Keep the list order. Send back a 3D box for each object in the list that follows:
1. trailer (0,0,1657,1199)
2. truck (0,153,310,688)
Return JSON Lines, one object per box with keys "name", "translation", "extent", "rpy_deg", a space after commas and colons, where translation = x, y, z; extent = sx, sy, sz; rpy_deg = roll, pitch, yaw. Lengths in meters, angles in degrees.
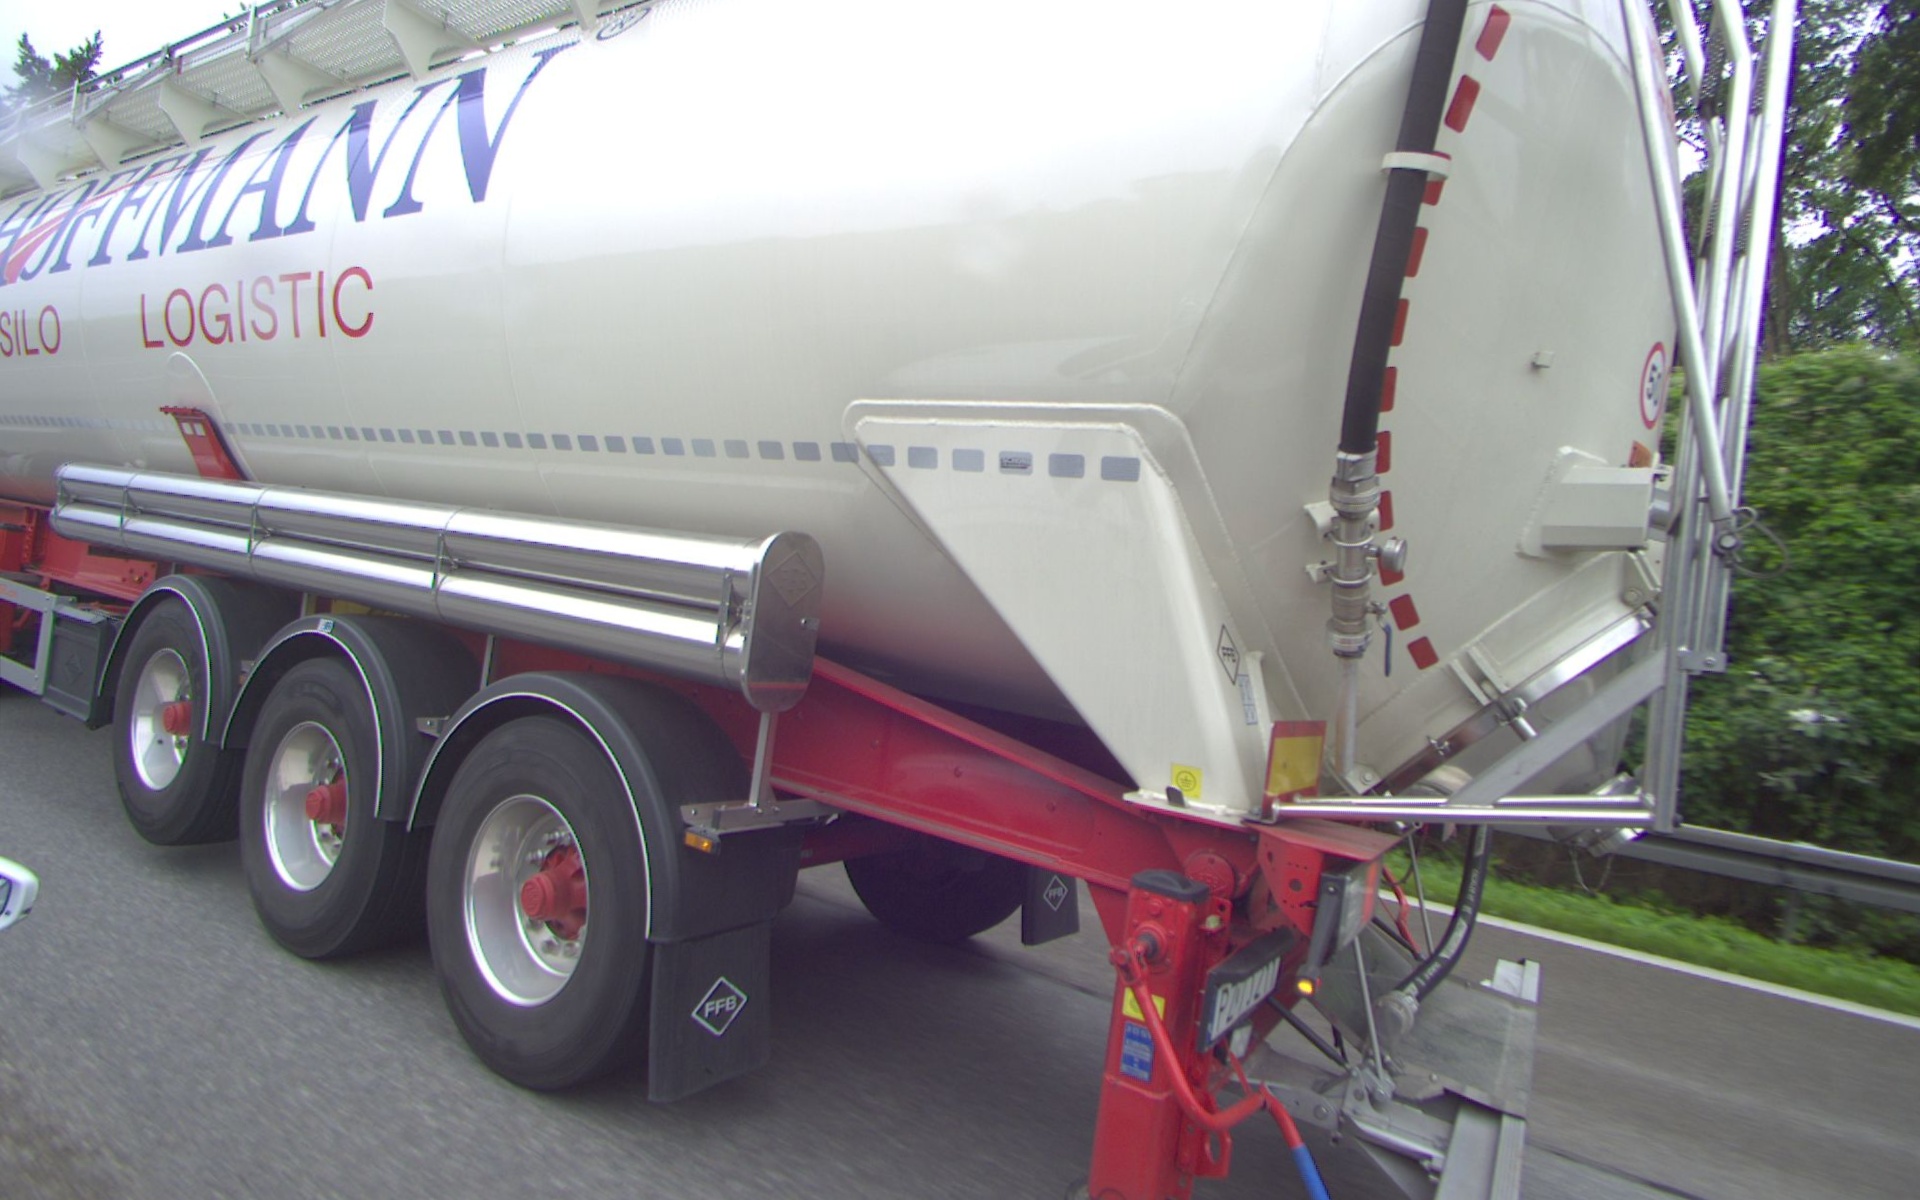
{"name": "trailer", "translation": [-3.791, -0.909, 6.061], "extent": [12.911, 3.987, 2.672], "rpy_deg": [7, 0, 32]}
{"name": "truck", "translation": [-9.635, -1.571, 9.809], "extent": [6.447, 3.960, 2.699], "rpy_deg": [7, 0, 31]}
